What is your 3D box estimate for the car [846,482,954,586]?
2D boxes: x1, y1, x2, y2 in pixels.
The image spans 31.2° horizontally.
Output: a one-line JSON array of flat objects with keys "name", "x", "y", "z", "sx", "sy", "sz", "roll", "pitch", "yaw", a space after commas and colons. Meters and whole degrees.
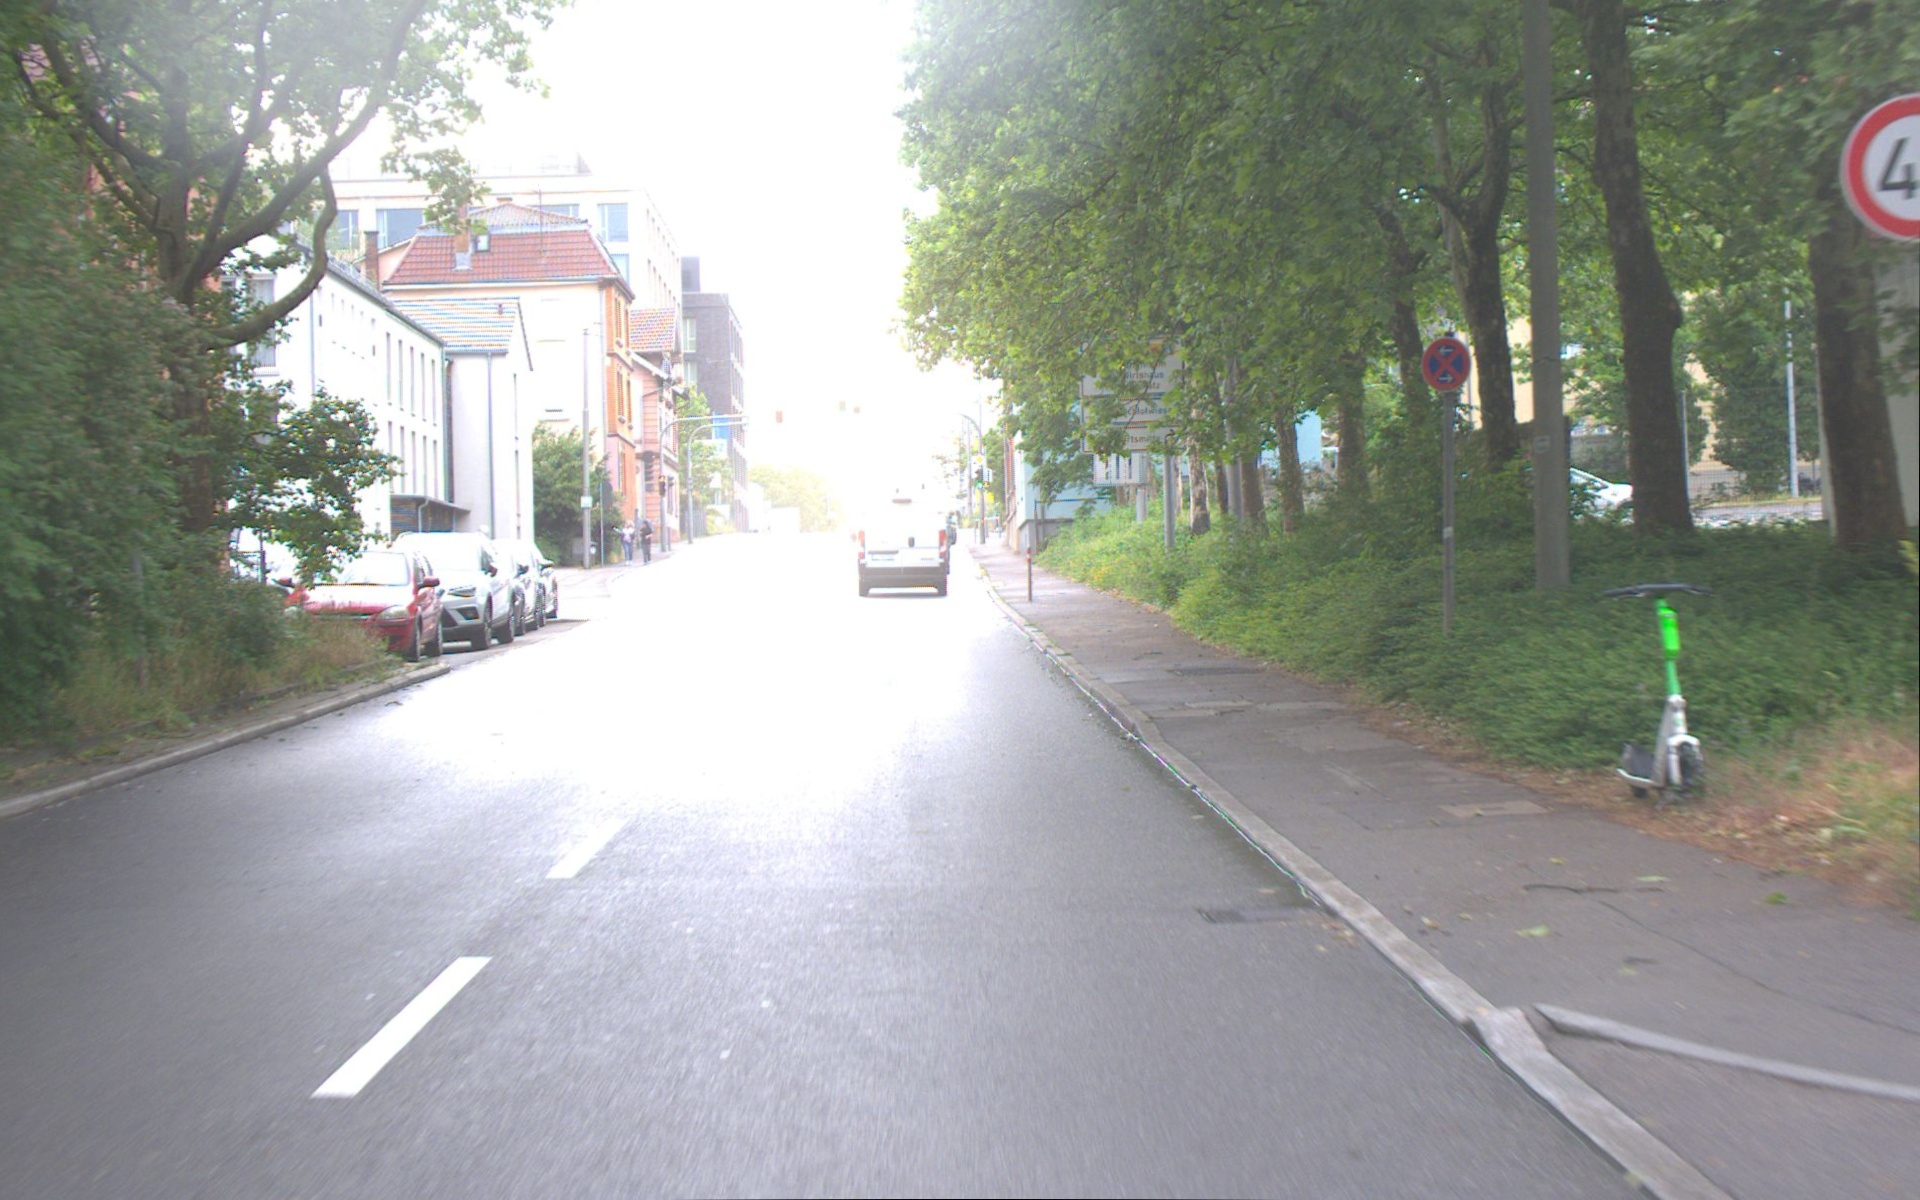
[{"name": "car", "x": -1.347, "y": -1.480, "z": 78.923, "sx": 2.336, "sy": 2.223, "sz": 4.000, "roll": -2, "pitch": 0, "yaw": 0}]

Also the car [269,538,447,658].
[{"name": "car", "x": -7.231, "y": -0.059, "z": 41.567, "sx": 1.638, "sy": 1.369, "sz": 3.759, "roll": 0, "pitch": 1, "yaw": -3}]

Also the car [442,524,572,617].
[{"name": "car", "x": -7.615, "y": -0.514, "z": 58.097, "sx": 1.635, "sy": 1.477, "sz": 4.359, "roll": 1, "pitch": 1, "yaw": -1}]

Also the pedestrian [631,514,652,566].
[{"name": "pedestrian", "x": -12.377, "y": -2.322, "z": 133.481, "sx": 0.671, "sy": 2.007, "sz": 0.941, "roll": 0, "pitch": 1, "yaw": 3}]

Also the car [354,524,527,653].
[{"name": "car", "x": -7.045, "y": -0.196, "z": 46.971, "sx": 1.691, "sy": 1.536, "sz": 4.118, "roll": -3, "pitch": 2, "yaw": 0}]

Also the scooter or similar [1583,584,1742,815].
[{"name": "scooter or similar", "x": 3.616, "y": 0.505, "z": 17.774, "sx": 0.425, "sy": 1.138, "sz": 1.529, "roll": 1, "pitch": -1, "yaw": -3}]

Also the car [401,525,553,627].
[{"name": "car", "x": -7.407, "y": -0.398, "z": 53.075, "sx": 1.743, "sy": 1.477, "sz": 4.386, "roll": -1, "pitch": 1, "yaw": -1}]

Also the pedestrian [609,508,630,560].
[{"name": "pedestrian", "x": -13.205, "y": -2.577, "z": 133.328, "sx": 0.671, "sy": 2.007, "sz": 0.941, "roll": 0, "pitch": 1, "yaw": 3}]
